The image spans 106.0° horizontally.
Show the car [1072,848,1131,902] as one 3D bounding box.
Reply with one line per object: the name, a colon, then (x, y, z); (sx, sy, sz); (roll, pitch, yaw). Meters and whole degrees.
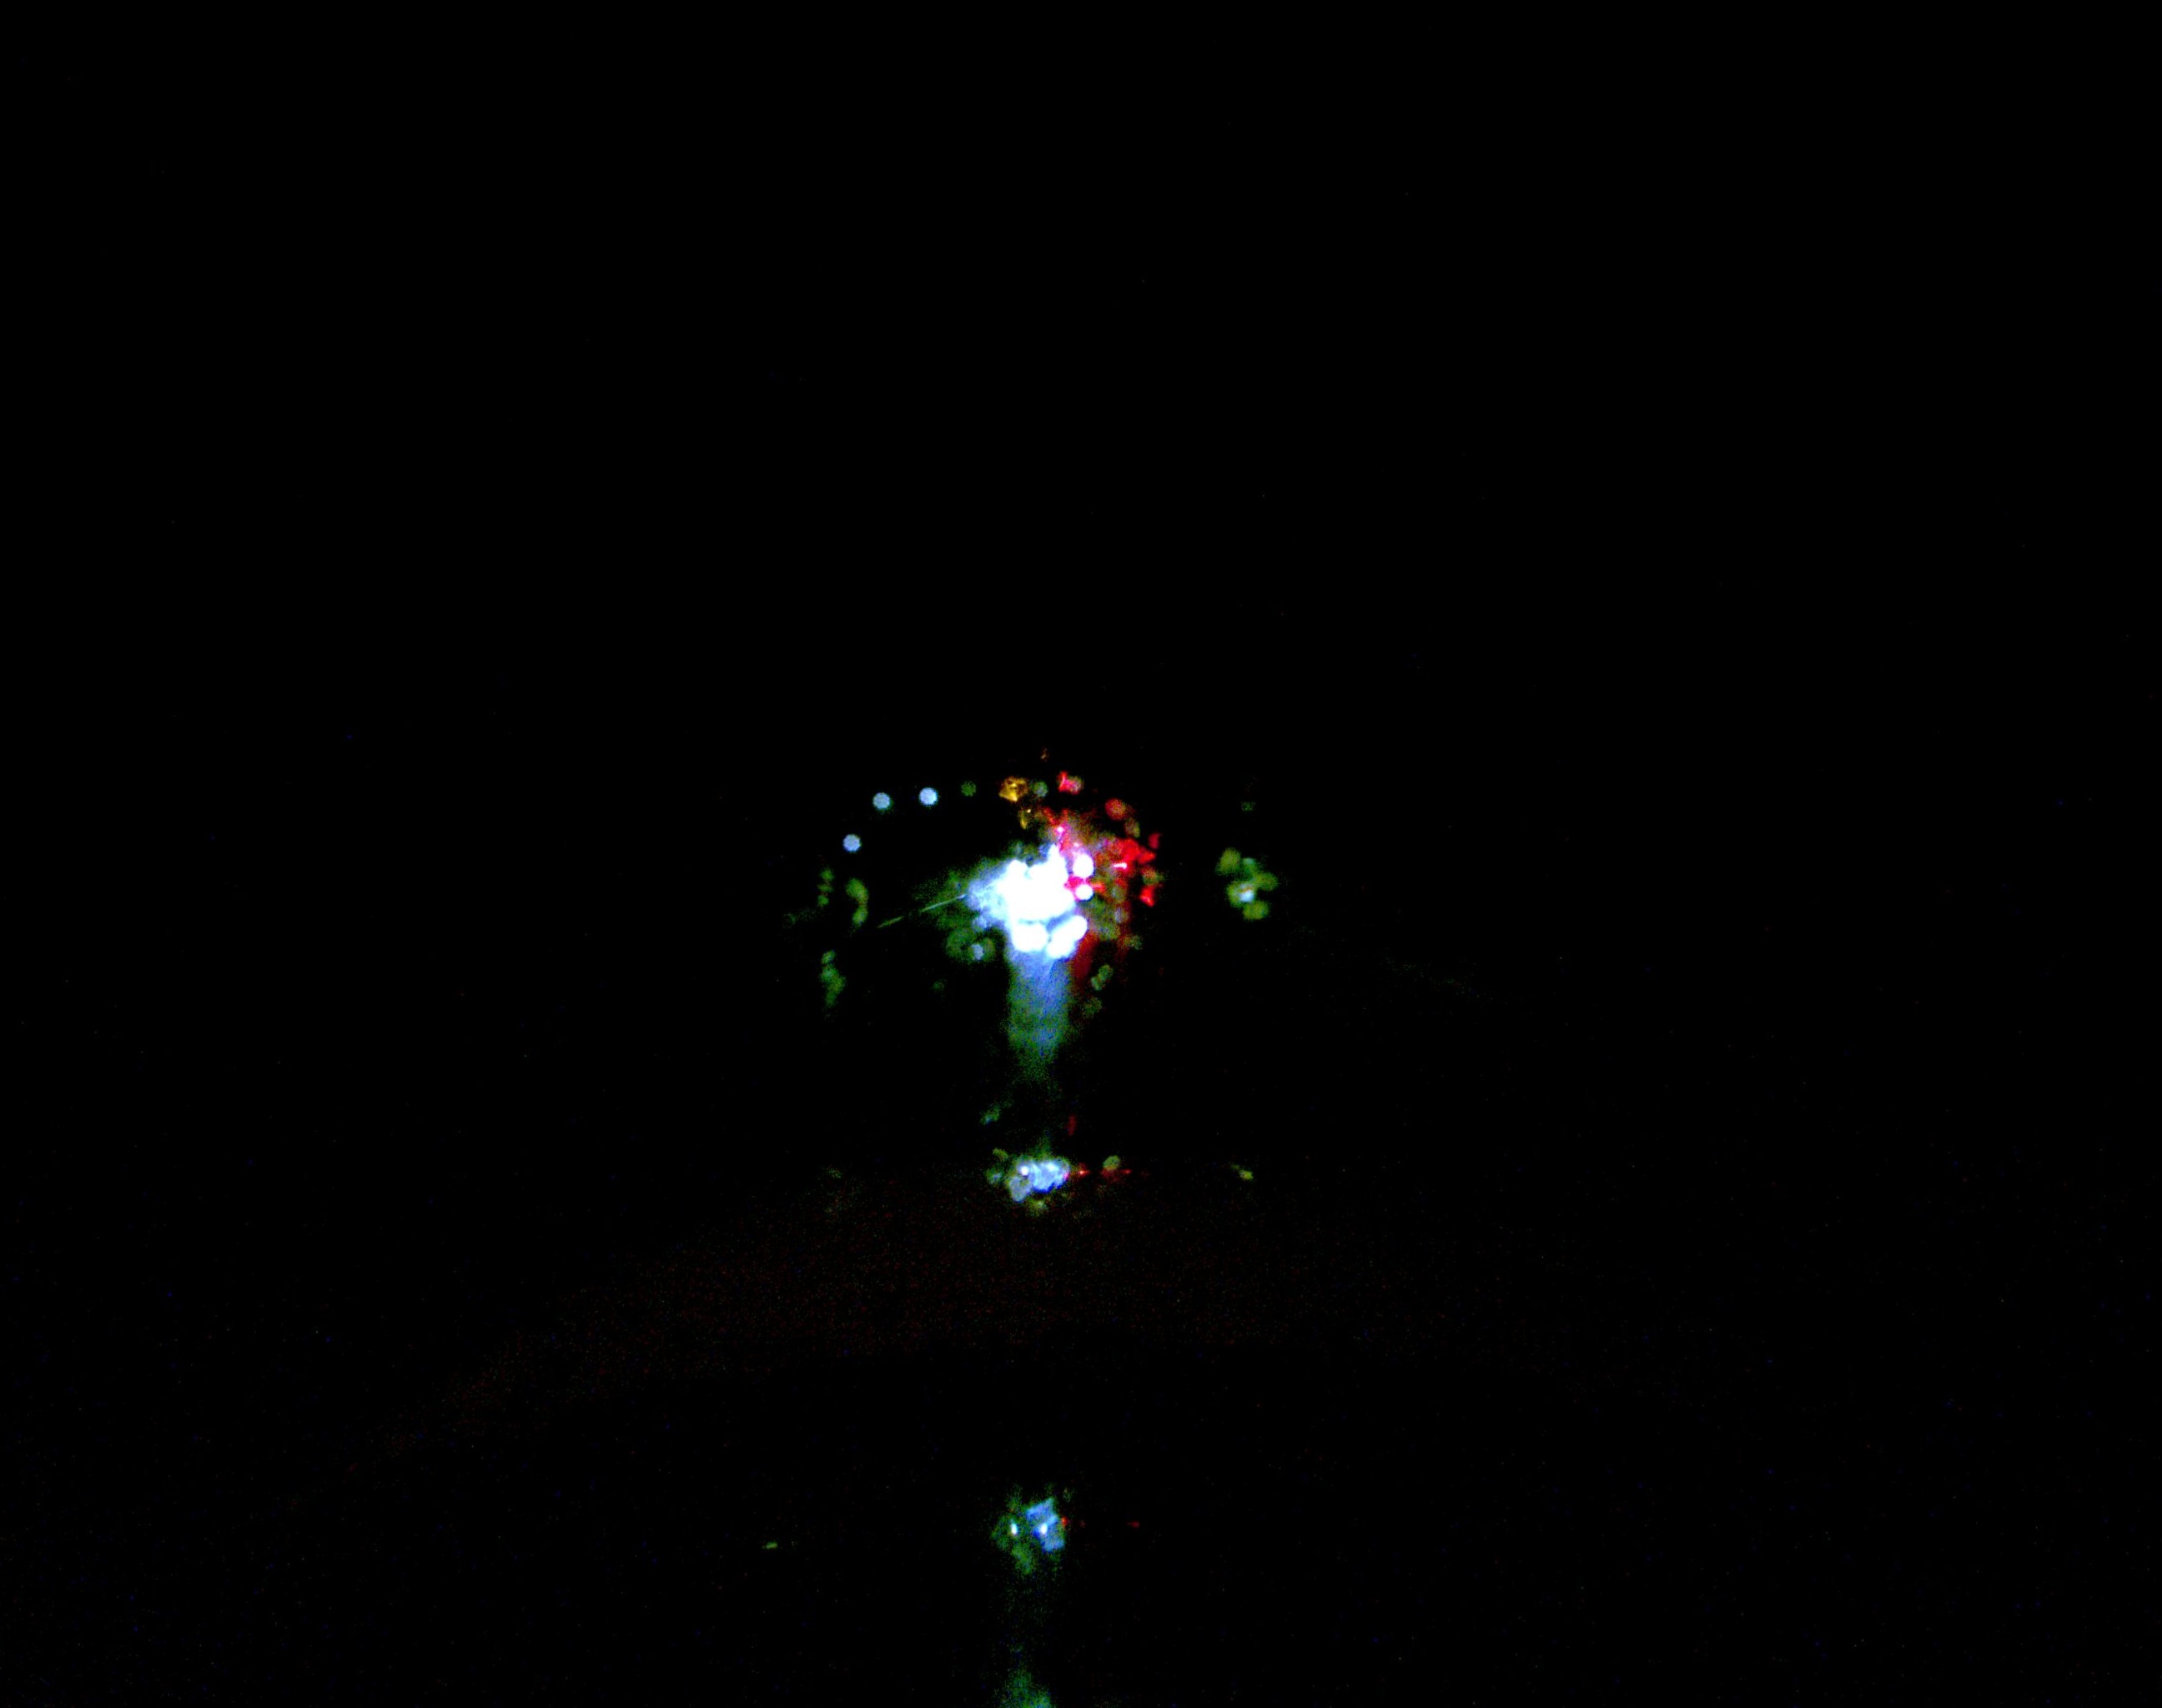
car: (0.691, 0.691, 27.082); (1.794, 1.629, 3.616); (1, -1, 2)
